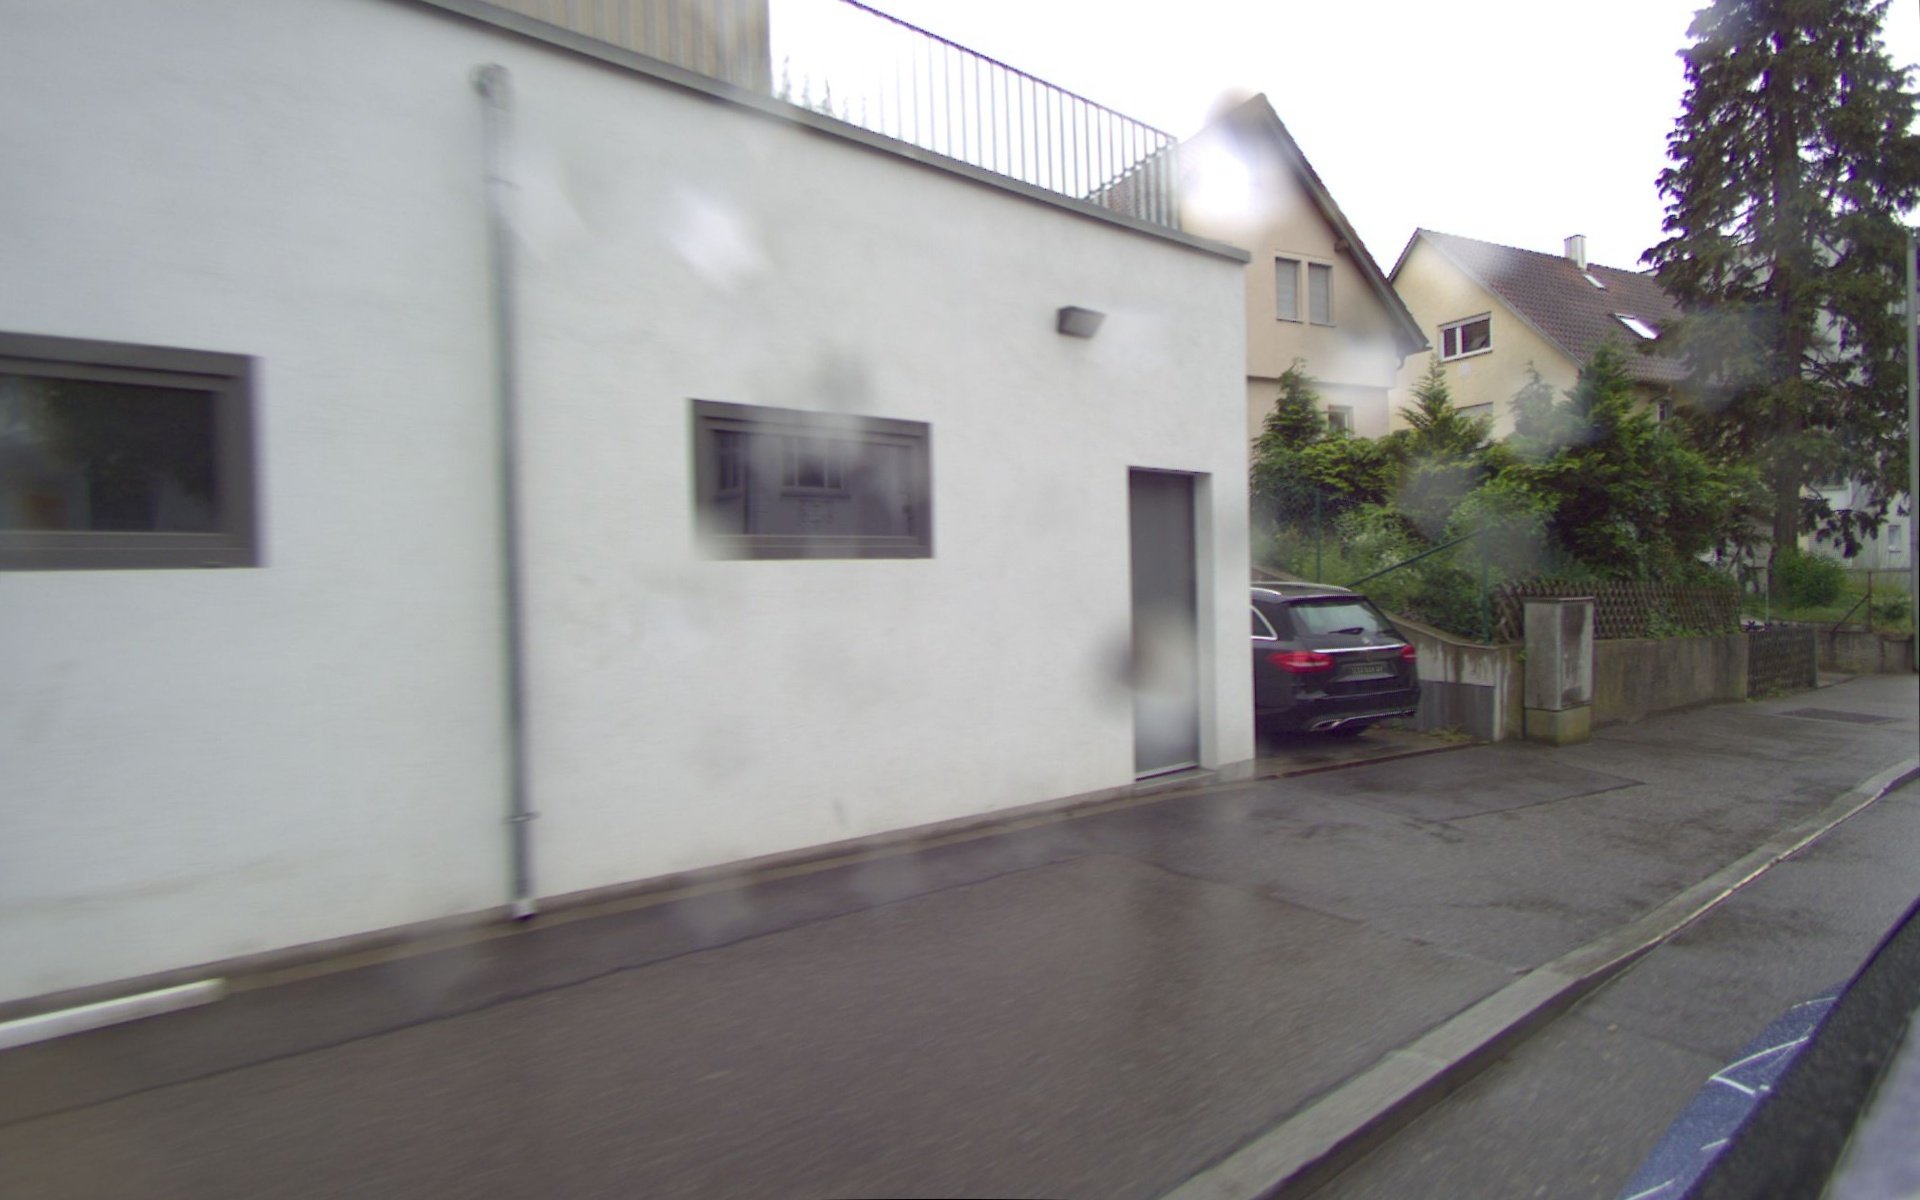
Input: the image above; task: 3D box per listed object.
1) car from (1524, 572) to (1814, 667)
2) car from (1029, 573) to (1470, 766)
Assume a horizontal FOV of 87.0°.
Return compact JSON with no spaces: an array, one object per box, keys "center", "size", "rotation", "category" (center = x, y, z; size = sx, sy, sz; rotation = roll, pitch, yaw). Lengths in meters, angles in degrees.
[{"center":[13.953,0.308,20.228],"size":[1.923,1.674,4.339],"rotation":[1,1,-26],"category":"car"},{"center":[2.560,0.519,9.953],"size":[1.959,1.476,4.006],"rotation":[0,0,-27],"category":"car"}]
